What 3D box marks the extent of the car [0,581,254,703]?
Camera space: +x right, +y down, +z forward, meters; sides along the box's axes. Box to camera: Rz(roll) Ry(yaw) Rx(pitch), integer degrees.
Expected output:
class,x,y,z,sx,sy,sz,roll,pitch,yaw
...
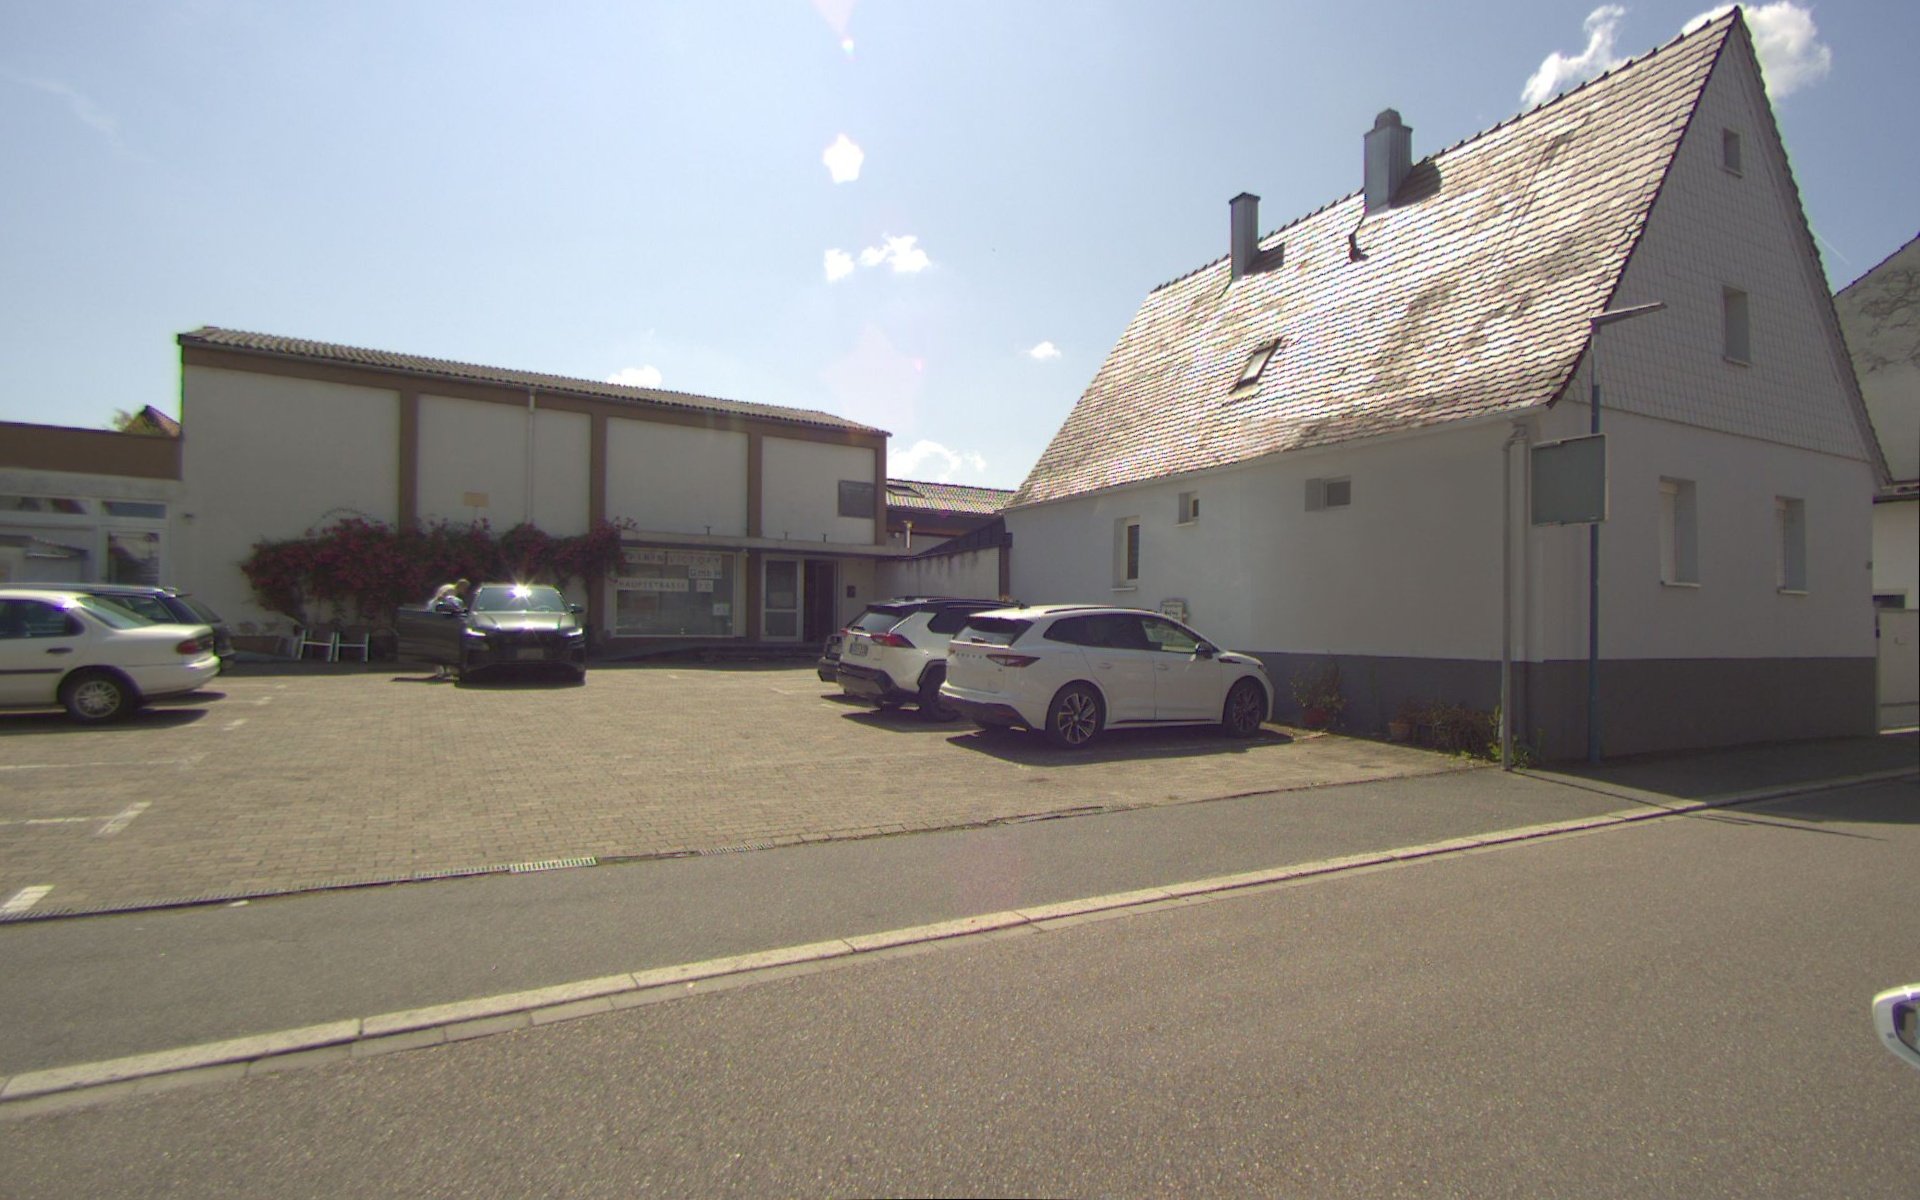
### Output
class,x,y,z,sx,sy,sz,roll,pitch,yaw
car,-12.280,0.512,13.140,4.772,1.501,1.815,2,0,-30

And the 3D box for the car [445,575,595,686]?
class,x,y,z,sx,sy,sz,roll,pitch,yaw
car,-8.122,0.497,18.283,2.013,1.748,4.659,1,-1,-30

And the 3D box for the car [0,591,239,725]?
class,x,y,z,sx,sy,sz,roll,pitch,yaw
car,-10.974,0.590,11.009,4.772,1.398,1.815,2,0,-30

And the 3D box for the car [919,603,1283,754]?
class,x,y,z,sx,sy,sz,roll,pitch,yaw
car,1.843,0.879,12.576,4.430,1.591,1.764,2,-1,-32

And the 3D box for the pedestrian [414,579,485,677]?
class,x,y,z,sx,sy,sz,roll,pitch,yaw
pedestrian,-9.040,0.484,17.821,0.769,1.680,0.831,1,0,3

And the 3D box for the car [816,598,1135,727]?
class,x,y,z,sx,sy,sz,roll,pitch,yaw
car,0.291,0.843,14.710,4.428,1.641,1.765,2,-1,-31

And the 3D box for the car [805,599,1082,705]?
class,x,y,z,sx,sy,sz,roll,pitch,yaw
car,-0.230,0.835,17.067,4.428,1.591,1.765,2,-1,-31
